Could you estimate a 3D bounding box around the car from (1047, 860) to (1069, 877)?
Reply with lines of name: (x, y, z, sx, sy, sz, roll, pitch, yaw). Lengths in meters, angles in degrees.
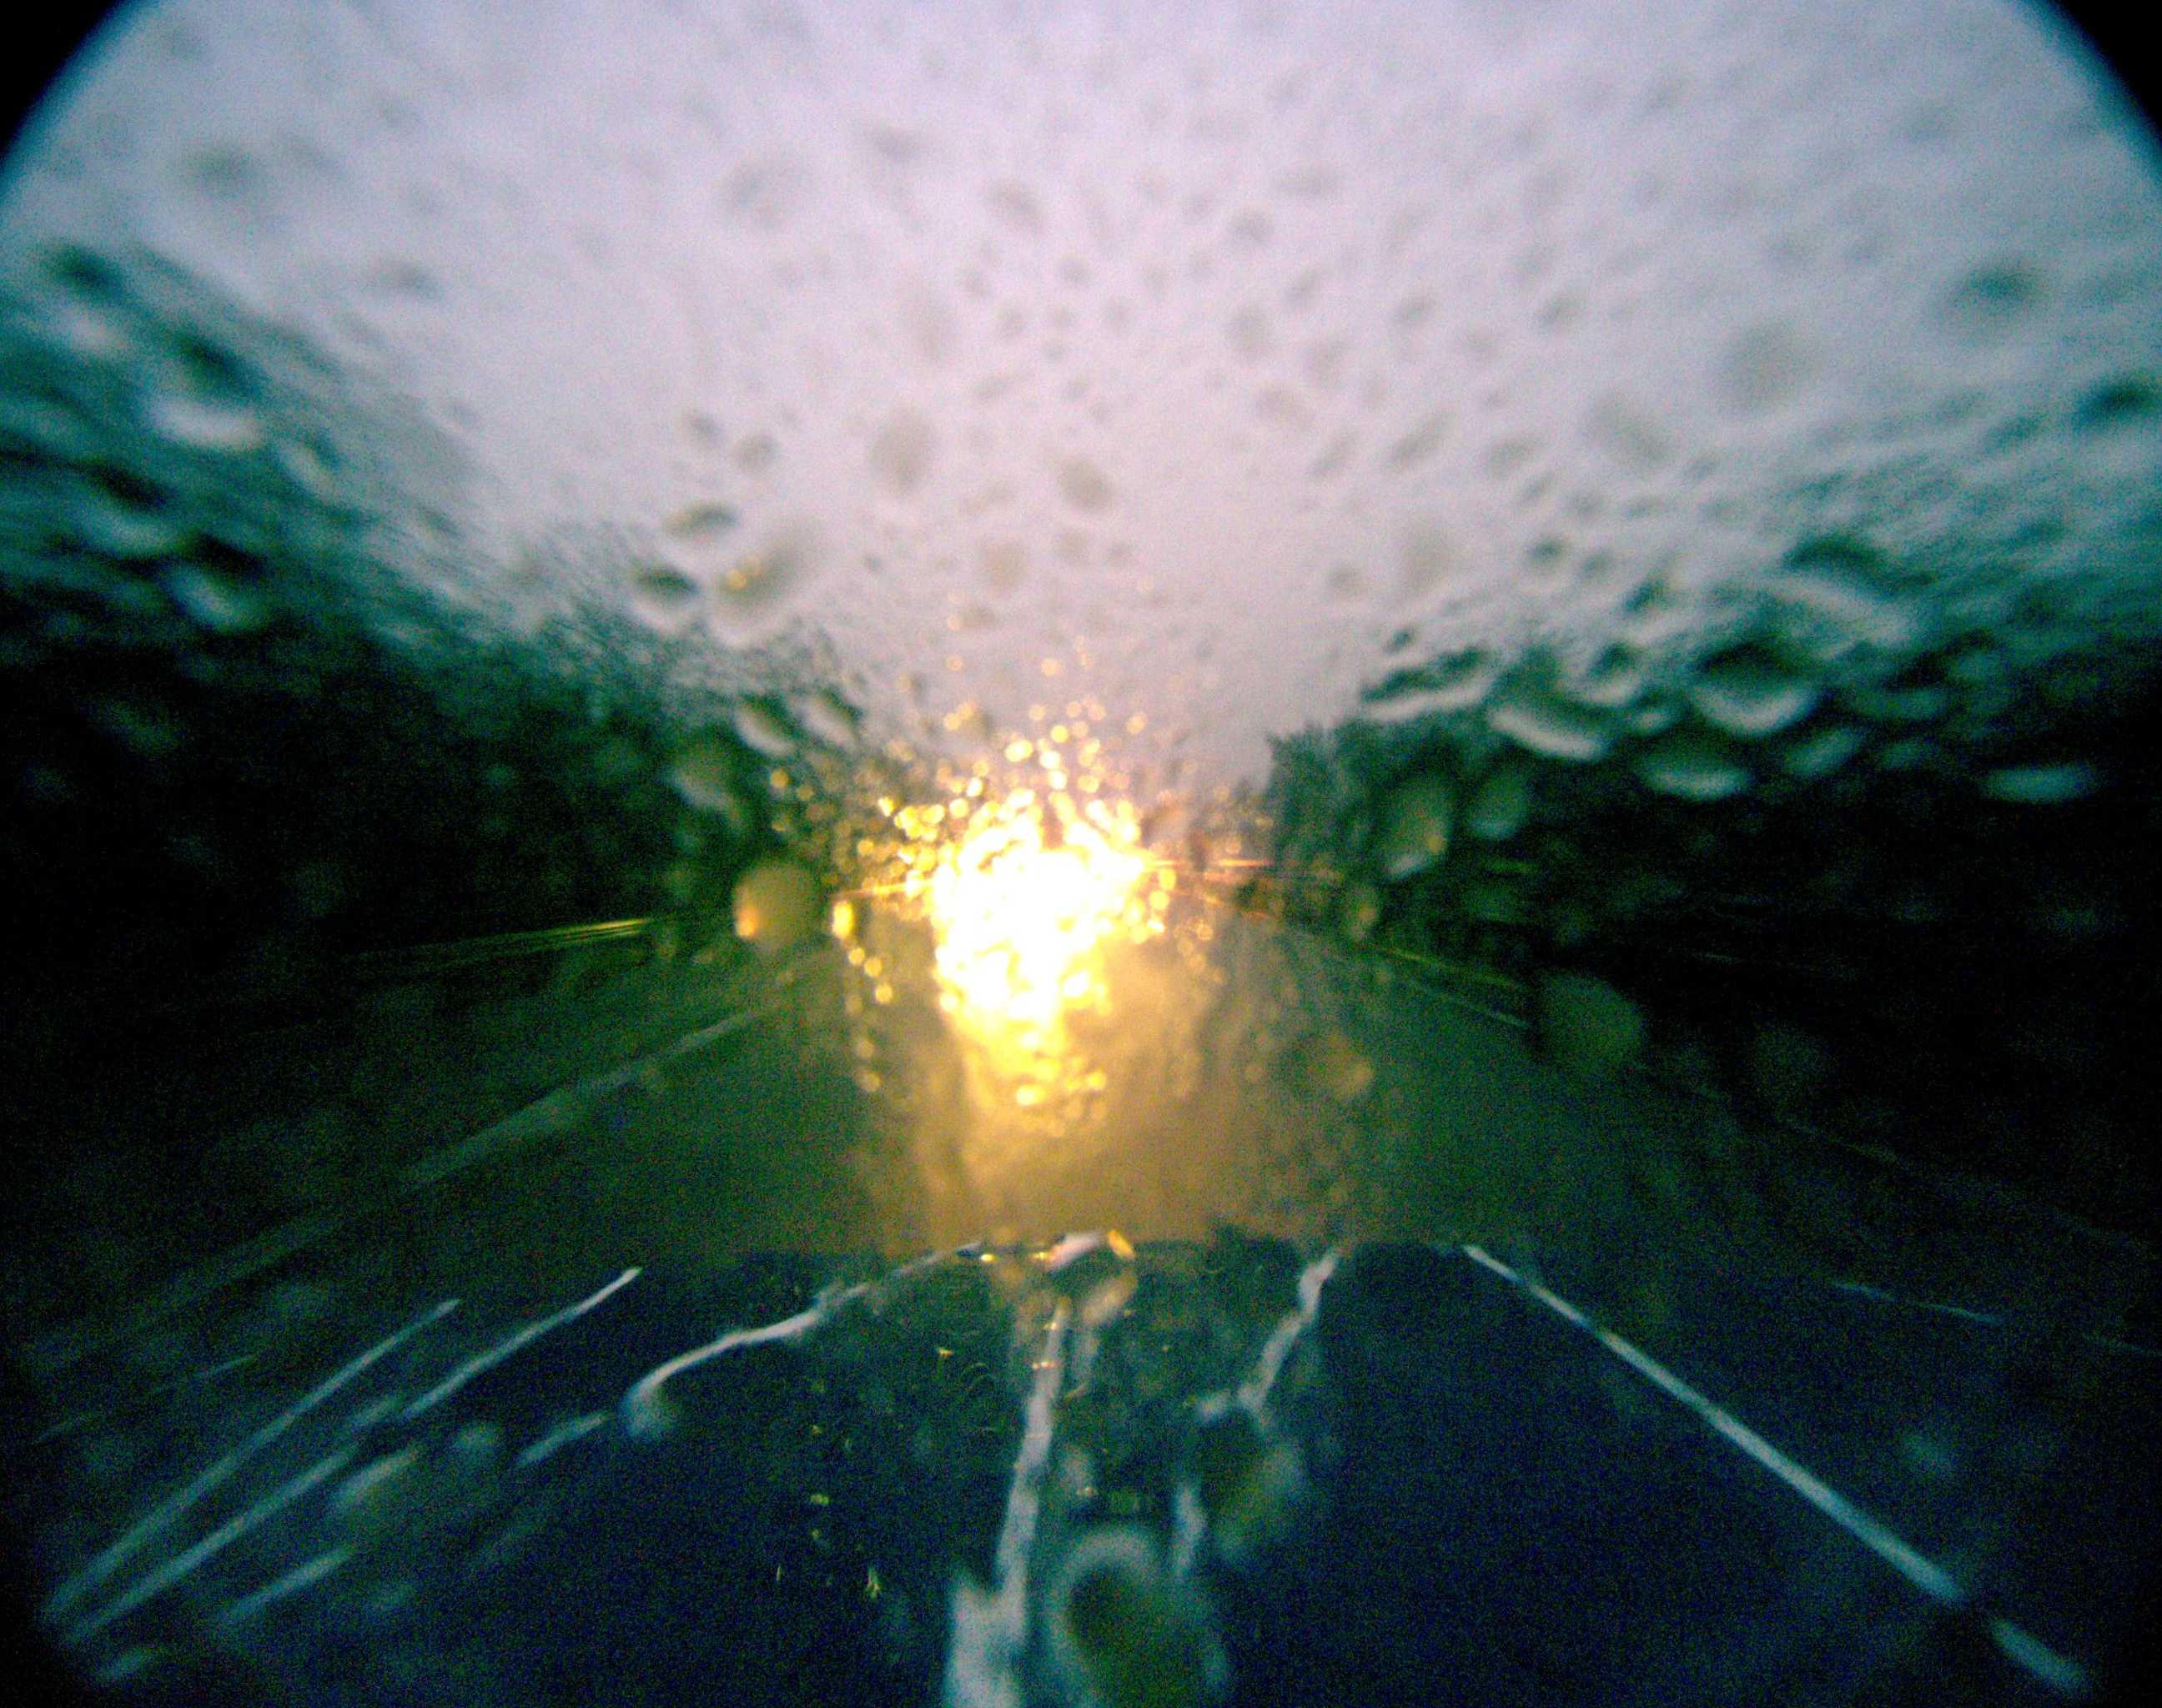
car: (-1.946, 1.212, 64.874, 1.603, 1.358, 3.305, -1, 0, 2)

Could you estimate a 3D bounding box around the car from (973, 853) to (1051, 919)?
car: (-2.036, 0.896, 23.483, 1.929, 1.781, 3.940, -2, 0, 1)

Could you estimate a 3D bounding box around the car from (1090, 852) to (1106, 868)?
car: (2.249, 0.755, 99.739, 1.767, 1.922, 3.999, -2, 0, -2)
